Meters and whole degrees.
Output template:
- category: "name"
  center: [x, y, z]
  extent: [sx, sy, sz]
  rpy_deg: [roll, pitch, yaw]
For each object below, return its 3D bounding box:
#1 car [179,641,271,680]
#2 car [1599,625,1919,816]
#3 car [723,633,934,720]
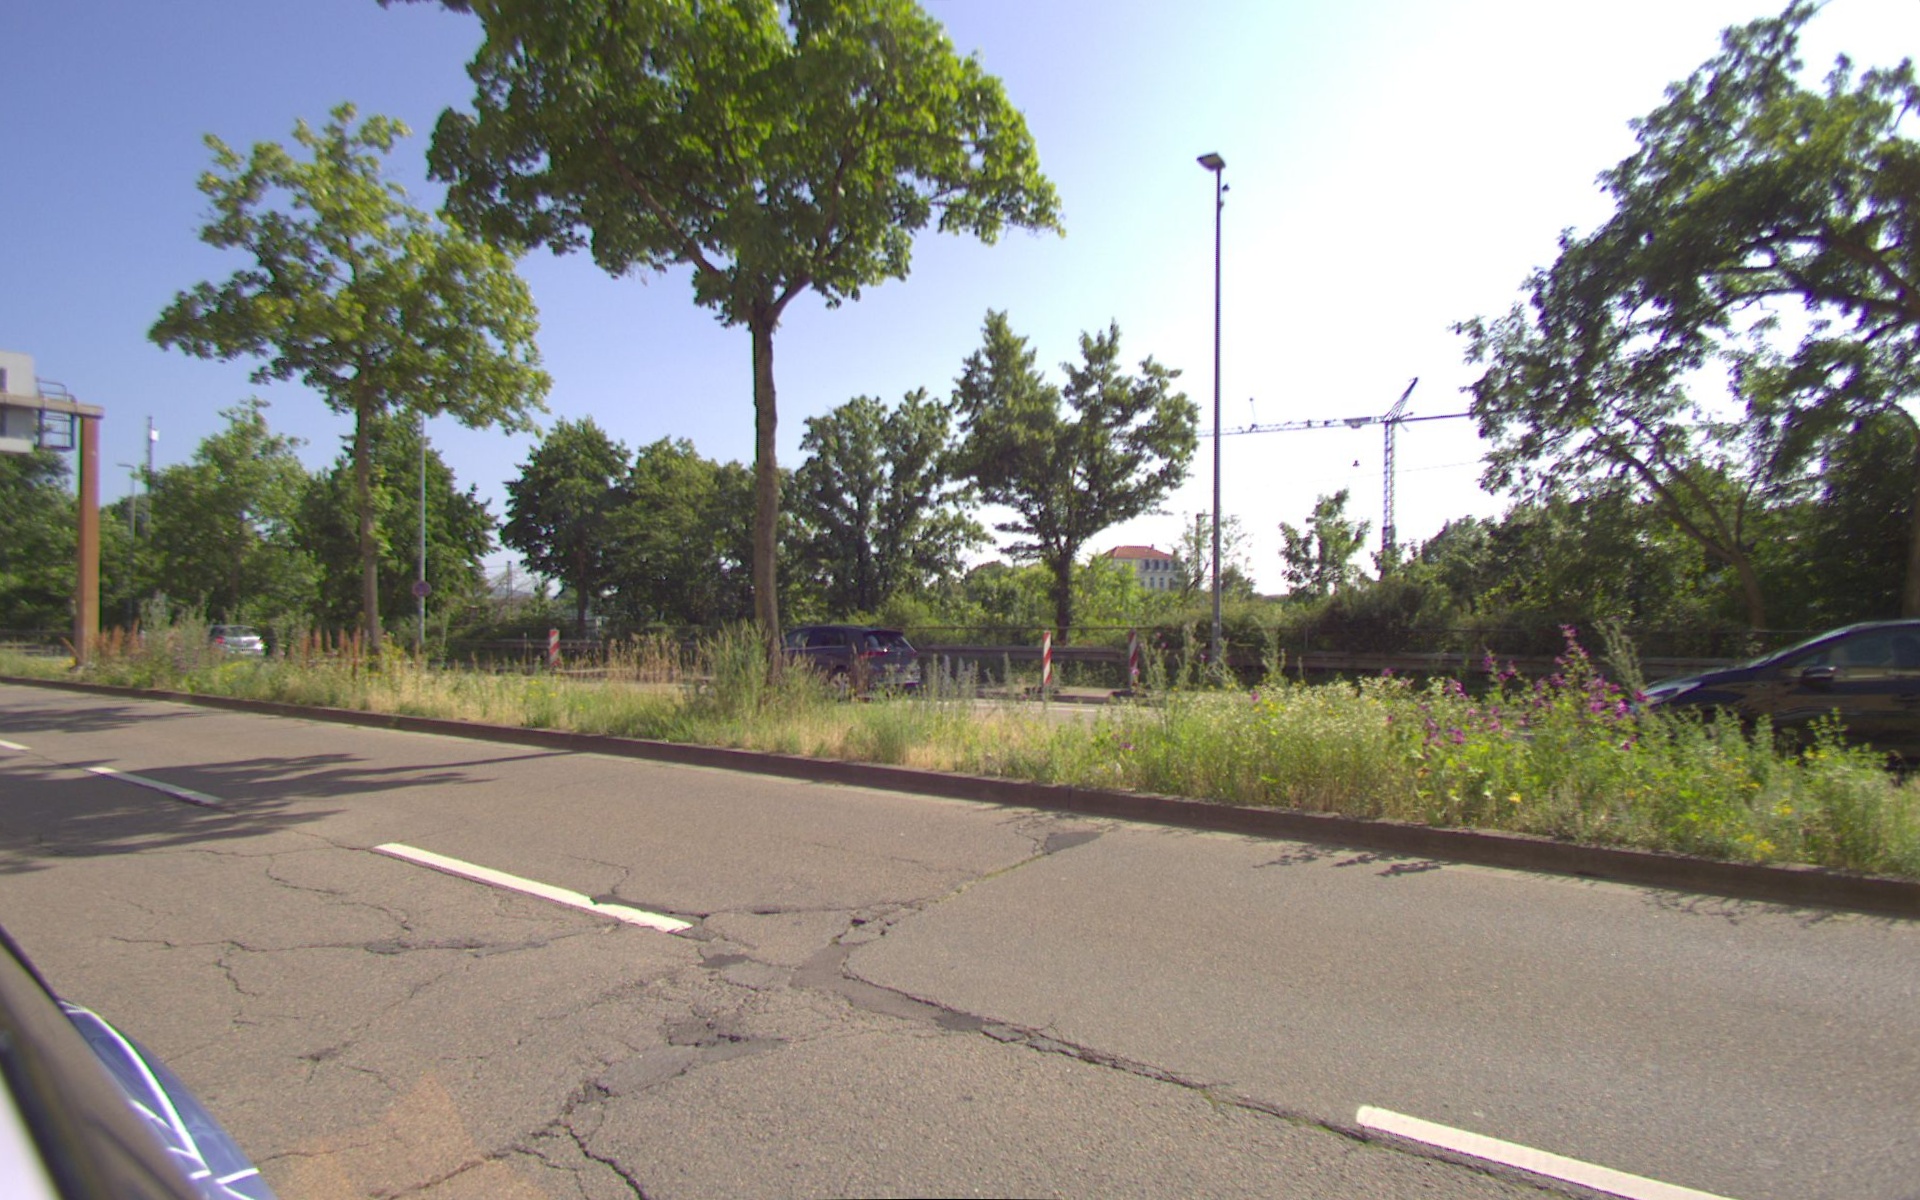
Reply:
- category: "car"
  center: [-28.201, 2.313, 38.785]
  extent: [3.960, 1.427, 1.631]
  rpy_deg: [-2, -3, 35]
- category: "car"
  center: [7.982, 0.968, 8.664]
  extent: [4.079, 1.485, 1.746]
  rpy_deg: [-2, -3, 38]
- category: "car"
  center: [-2.631, 1.423, 19.936]
  extent: [3.991, 1.542, 1.782]
  rpy_deg: [-1, -2, 35]
